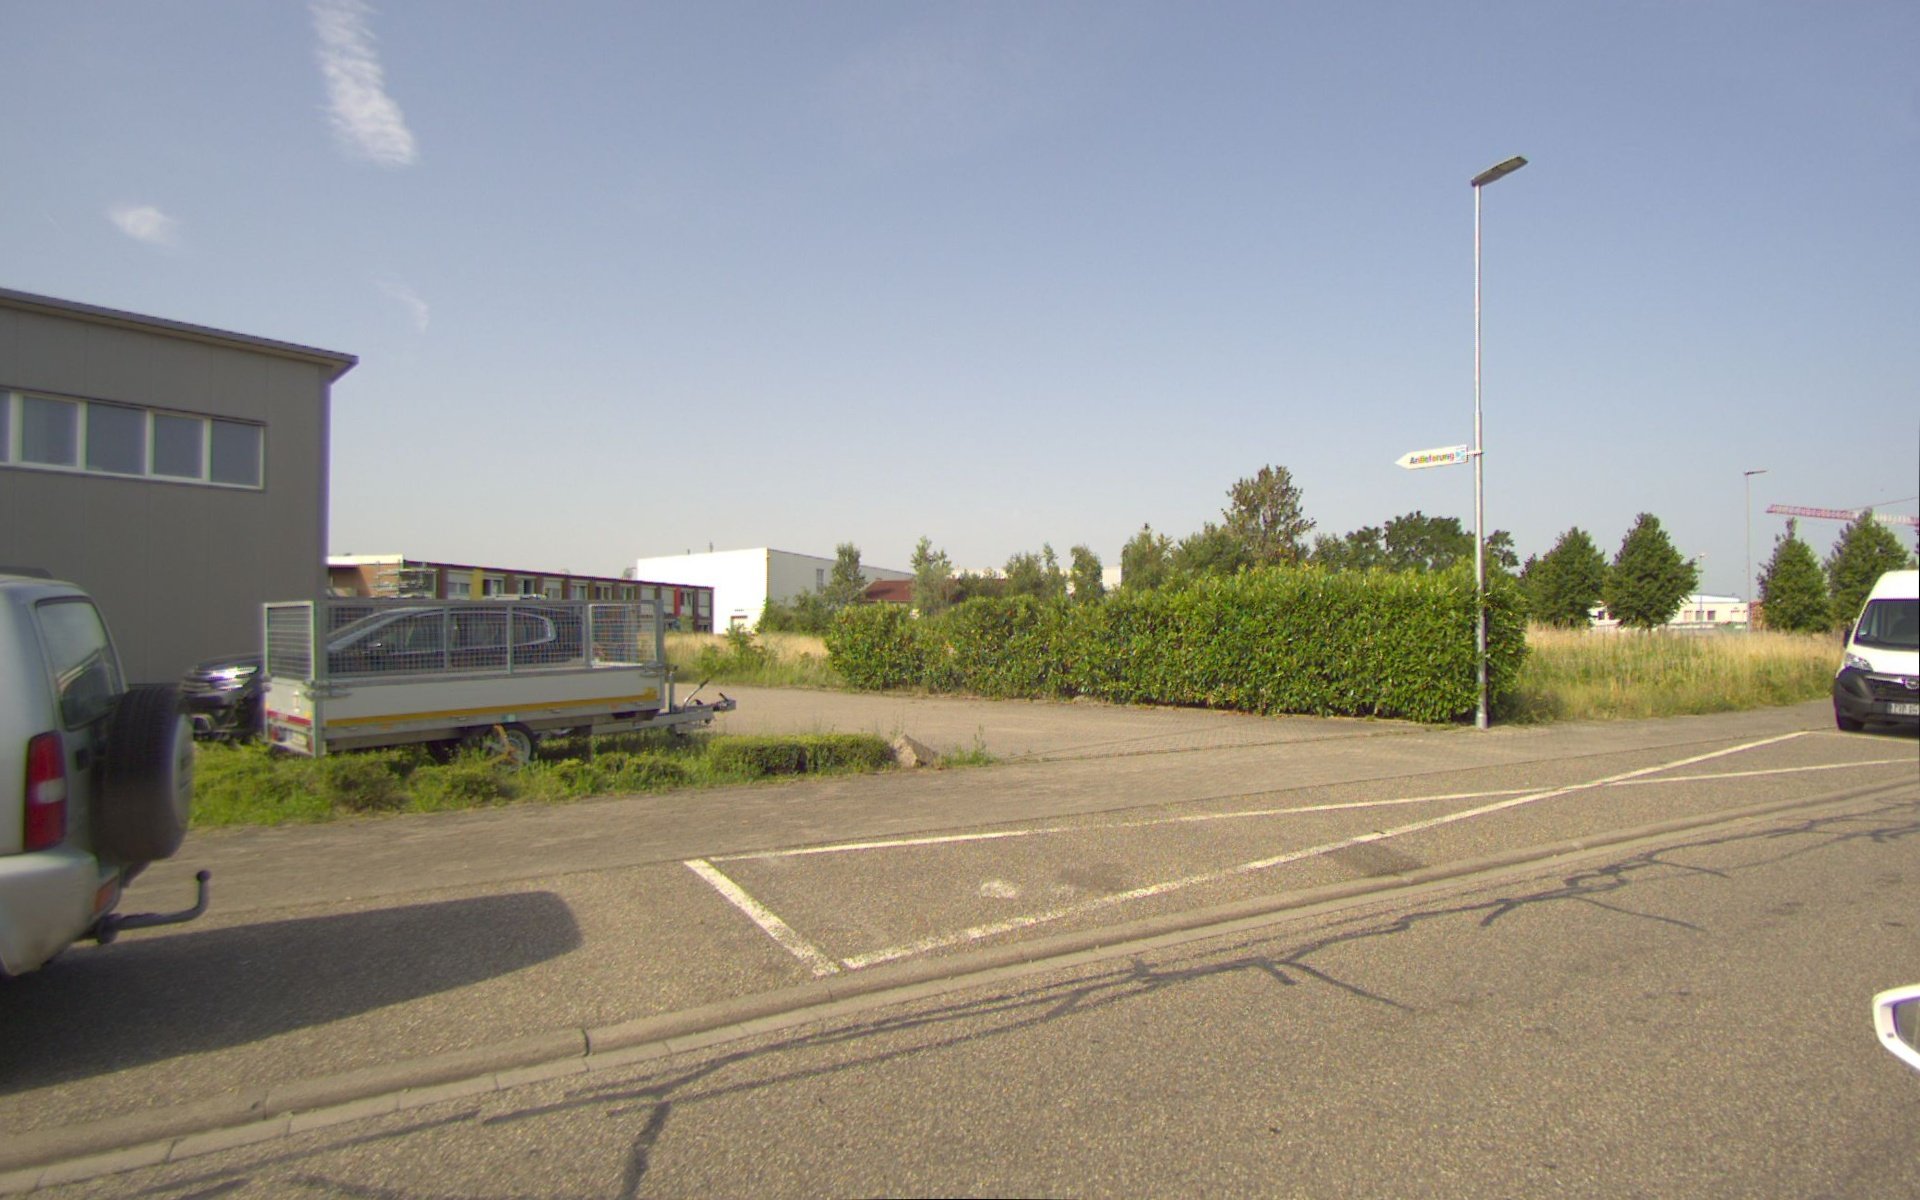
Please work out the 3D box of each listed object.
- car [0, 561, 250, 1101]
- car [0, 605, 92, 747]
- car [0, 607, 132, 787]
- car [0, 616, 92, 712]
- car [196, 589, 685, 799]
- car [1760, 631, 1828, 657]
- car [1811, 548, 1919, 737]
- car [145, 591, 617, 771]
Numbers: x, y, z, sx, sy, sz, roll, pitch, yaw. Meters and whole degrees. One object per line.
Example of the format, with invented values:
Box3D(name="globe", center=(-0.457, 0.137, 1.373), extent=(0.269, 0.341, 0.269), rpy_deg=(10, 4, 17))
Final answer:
Box3D(name="car", center=(-4.499, 0.710, 3.121), extent=(3.602, 1.673, 1.589), rpy_deg=(1, 0, -31))
Box3D(name="car", center=(-11.628, 0.781, 9.989), extent=(1.659, 1.496, 4.331), rpy_deg=(-1, -1, 40))
Box3D(name="car", center=(-9.637, 0.797, 8.044), extent=(1.953, 1.496, 4.398), rpy_deg=(-1, -2, 42))
Box3D(name="car", center=(-14.876, 0.879, 13.718), extent=(1.966, 1.342, 4.331), rpy_deg=(-1, -1, 40))
Box3D(name="car", center=(-4.811, 0.743, 9.671), extent=(1.813, 1.593, 3.795), rpy_deg=(1, 0, 42))
Box3D(name="car", center=(52.133, 2.737, 62.887), extent=(1.686, 1.535, 4.006), rpy_deg=(-2, -2, 15))
Box3D(name="car", center=(15.918, 0.636, 15.844), extent=(6.436, 2.630, 2.089), rpy_deg=(1, 1, -34))
Box3D(name="car", center=(-6.534, 0.811, 11.744), extent=(1.967, 1.680, 4.398), rpy_deg=(-1, -1, 42))
